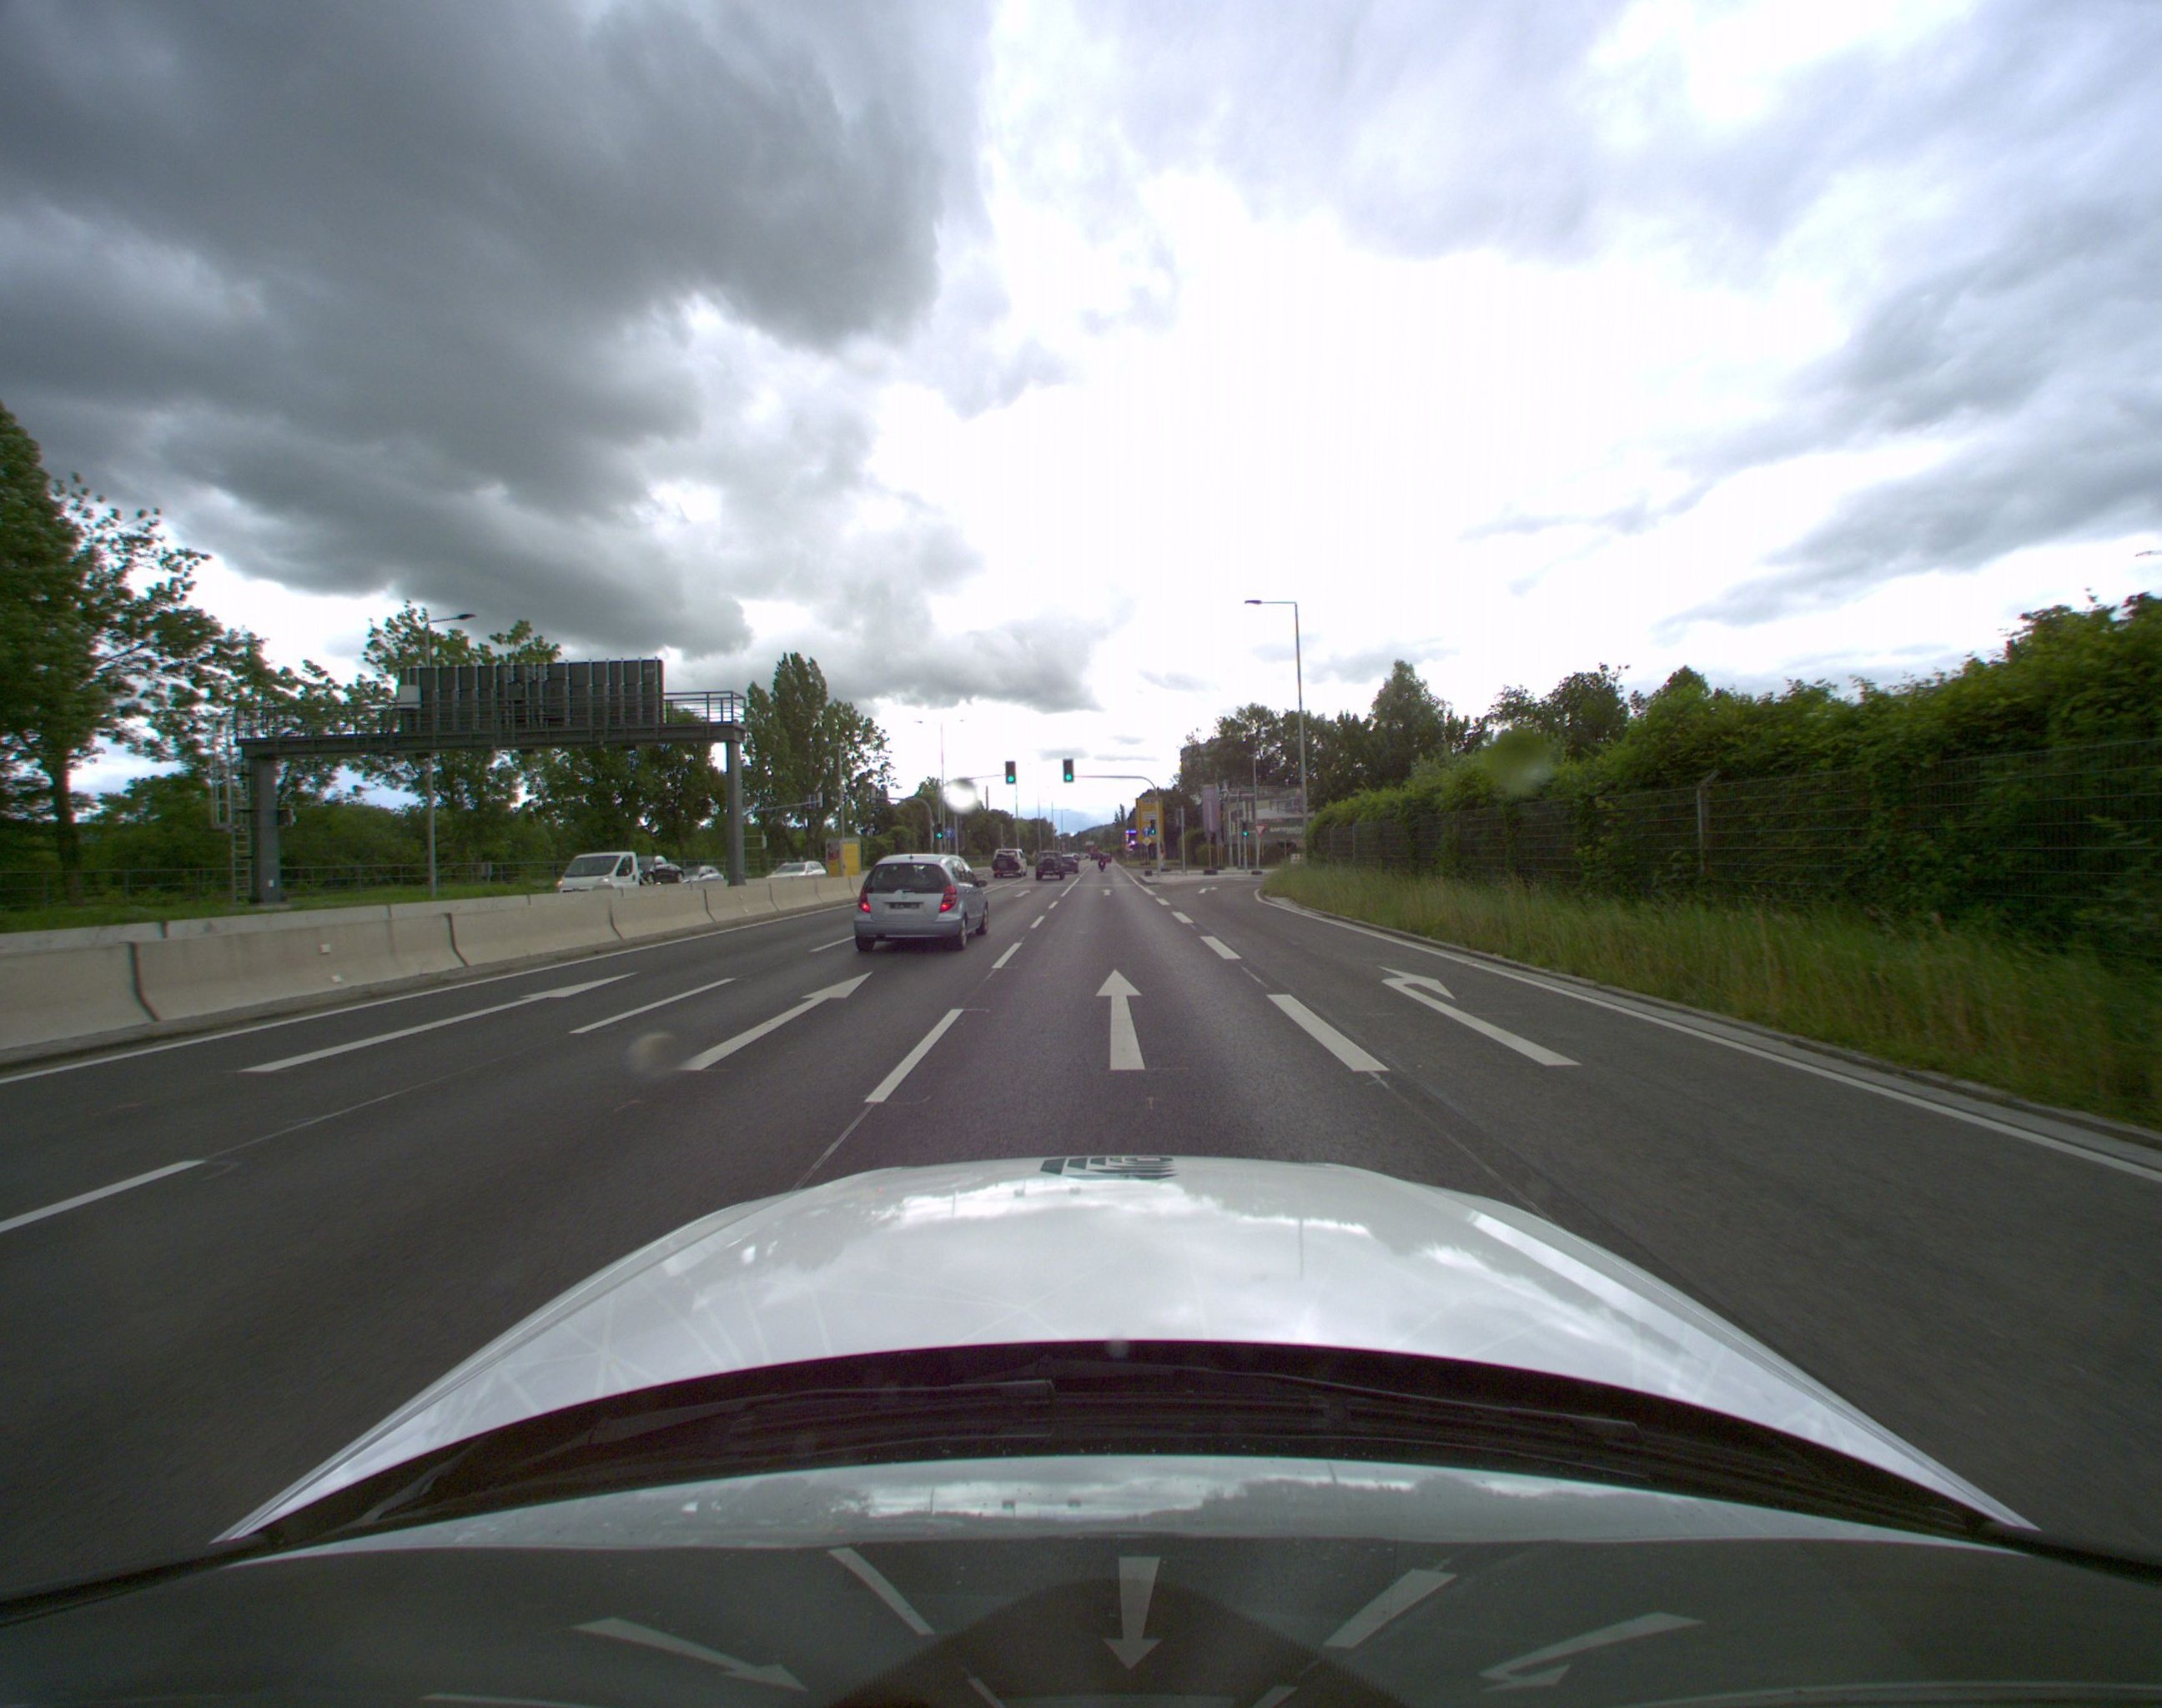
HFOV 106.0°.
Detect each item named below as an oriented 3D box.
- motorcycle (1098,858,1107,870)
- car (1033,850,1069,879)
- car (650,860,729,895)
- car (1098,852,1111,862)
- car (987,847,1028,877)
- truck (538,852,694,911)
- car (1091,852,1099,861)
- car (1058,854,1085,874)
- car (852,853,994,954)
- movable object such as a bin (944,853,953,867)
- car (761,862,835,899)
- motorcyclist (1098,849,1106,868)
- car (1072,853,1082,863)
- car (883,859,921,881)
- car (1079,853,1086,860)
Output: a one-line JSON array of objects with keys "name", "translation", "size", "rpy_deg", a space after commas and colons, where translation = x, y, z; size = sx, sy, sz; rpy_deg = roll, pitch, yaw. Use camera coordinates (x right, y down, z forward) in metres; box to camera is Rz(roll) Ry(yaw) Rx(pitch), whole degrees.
[{"name": "motorcycle", "translation": [1.815, 0.833, 69.393], "size": [0.703, 1.040, 2.028], "rpy_deg": [0, 0, 3]}, {"name": "car", "translation": [-1.781, 0.591, 49.292], "size": [1.900, 1.684, 4.002], "rpy_deg": [0, 0, 2]}, {"name": "car", "translation": [-20.700, 1.199, 43.304], "size": [1.986, 1.684, 4.413], "rpy_deg": [0, 0, 1]}, {"name": "car", "translation": [3.700, 0.396, 128.996], "size": [1.987, 1.552, 4.000], "rpy_deg": [0, 0, 0]}, {"name": "car", "translation": [-4.888, 0.498, 54.679], "size": [2.207, 1.925, 5.003], "rpy_deg": [0, 0, 1]}, {"name": "truck", "translation": [-17.759, 0.953, 31.615], "size": [2.196, 2.013, 6.305], "rpy_deg": [0, 0, 2]}, {"name": "car", "translation": [3.302, 0.659, 193.297], "size": [1.986, 2.013, 4.002], "rpy_deg": [0, 0, 2]}, {"name": "car", "translation": [-0.709, 0.736, 63.067], "size": [1.833, 1.464, 4.002], "rpy_deg": [0, 0, 2]}, {"name": "car", "translation": [-2.665, 0.761, 14.622], "size": [1.704, 1.530, 4.001], "rpy_deg": [0, 0, 1]}, {"name": "movable object such as a bin", "translation": [-9.762, 0.443, 59.992], "size": [0.539, 1.059, 0.741], "rpy_deg": [0, 0, 1]}, {"name": "car", "translation": [-14.160, 1.269, 41.082], "size": [1.986, 1.668, 4.696], "rpy_deg": [0, 0, 1]}, {"name": "motorcyclist", "translation": [1.812, 0.391, 69.344], "size": [0.682, 1.610, 0.846], "rpy_deg": [0, 0, 3]}, {"name": "car", "translation": [-0.845, 0.800, 171.132], "size": [1.986, 2.013, 4.002], "rpy_deg": [0, 0, 2]}, {"name": "car", "translation": [-14.369, 1.251, 65.733], "size": [1.986, 1.684, 4.413], "rpy_deg": [0, 0, 1]}, {"name": "car", "translation": [0.565, 0.871, 241.493], "size": [1.986, 2.013, 4.002], "rpy_deg": [0, 0, 2]}]
